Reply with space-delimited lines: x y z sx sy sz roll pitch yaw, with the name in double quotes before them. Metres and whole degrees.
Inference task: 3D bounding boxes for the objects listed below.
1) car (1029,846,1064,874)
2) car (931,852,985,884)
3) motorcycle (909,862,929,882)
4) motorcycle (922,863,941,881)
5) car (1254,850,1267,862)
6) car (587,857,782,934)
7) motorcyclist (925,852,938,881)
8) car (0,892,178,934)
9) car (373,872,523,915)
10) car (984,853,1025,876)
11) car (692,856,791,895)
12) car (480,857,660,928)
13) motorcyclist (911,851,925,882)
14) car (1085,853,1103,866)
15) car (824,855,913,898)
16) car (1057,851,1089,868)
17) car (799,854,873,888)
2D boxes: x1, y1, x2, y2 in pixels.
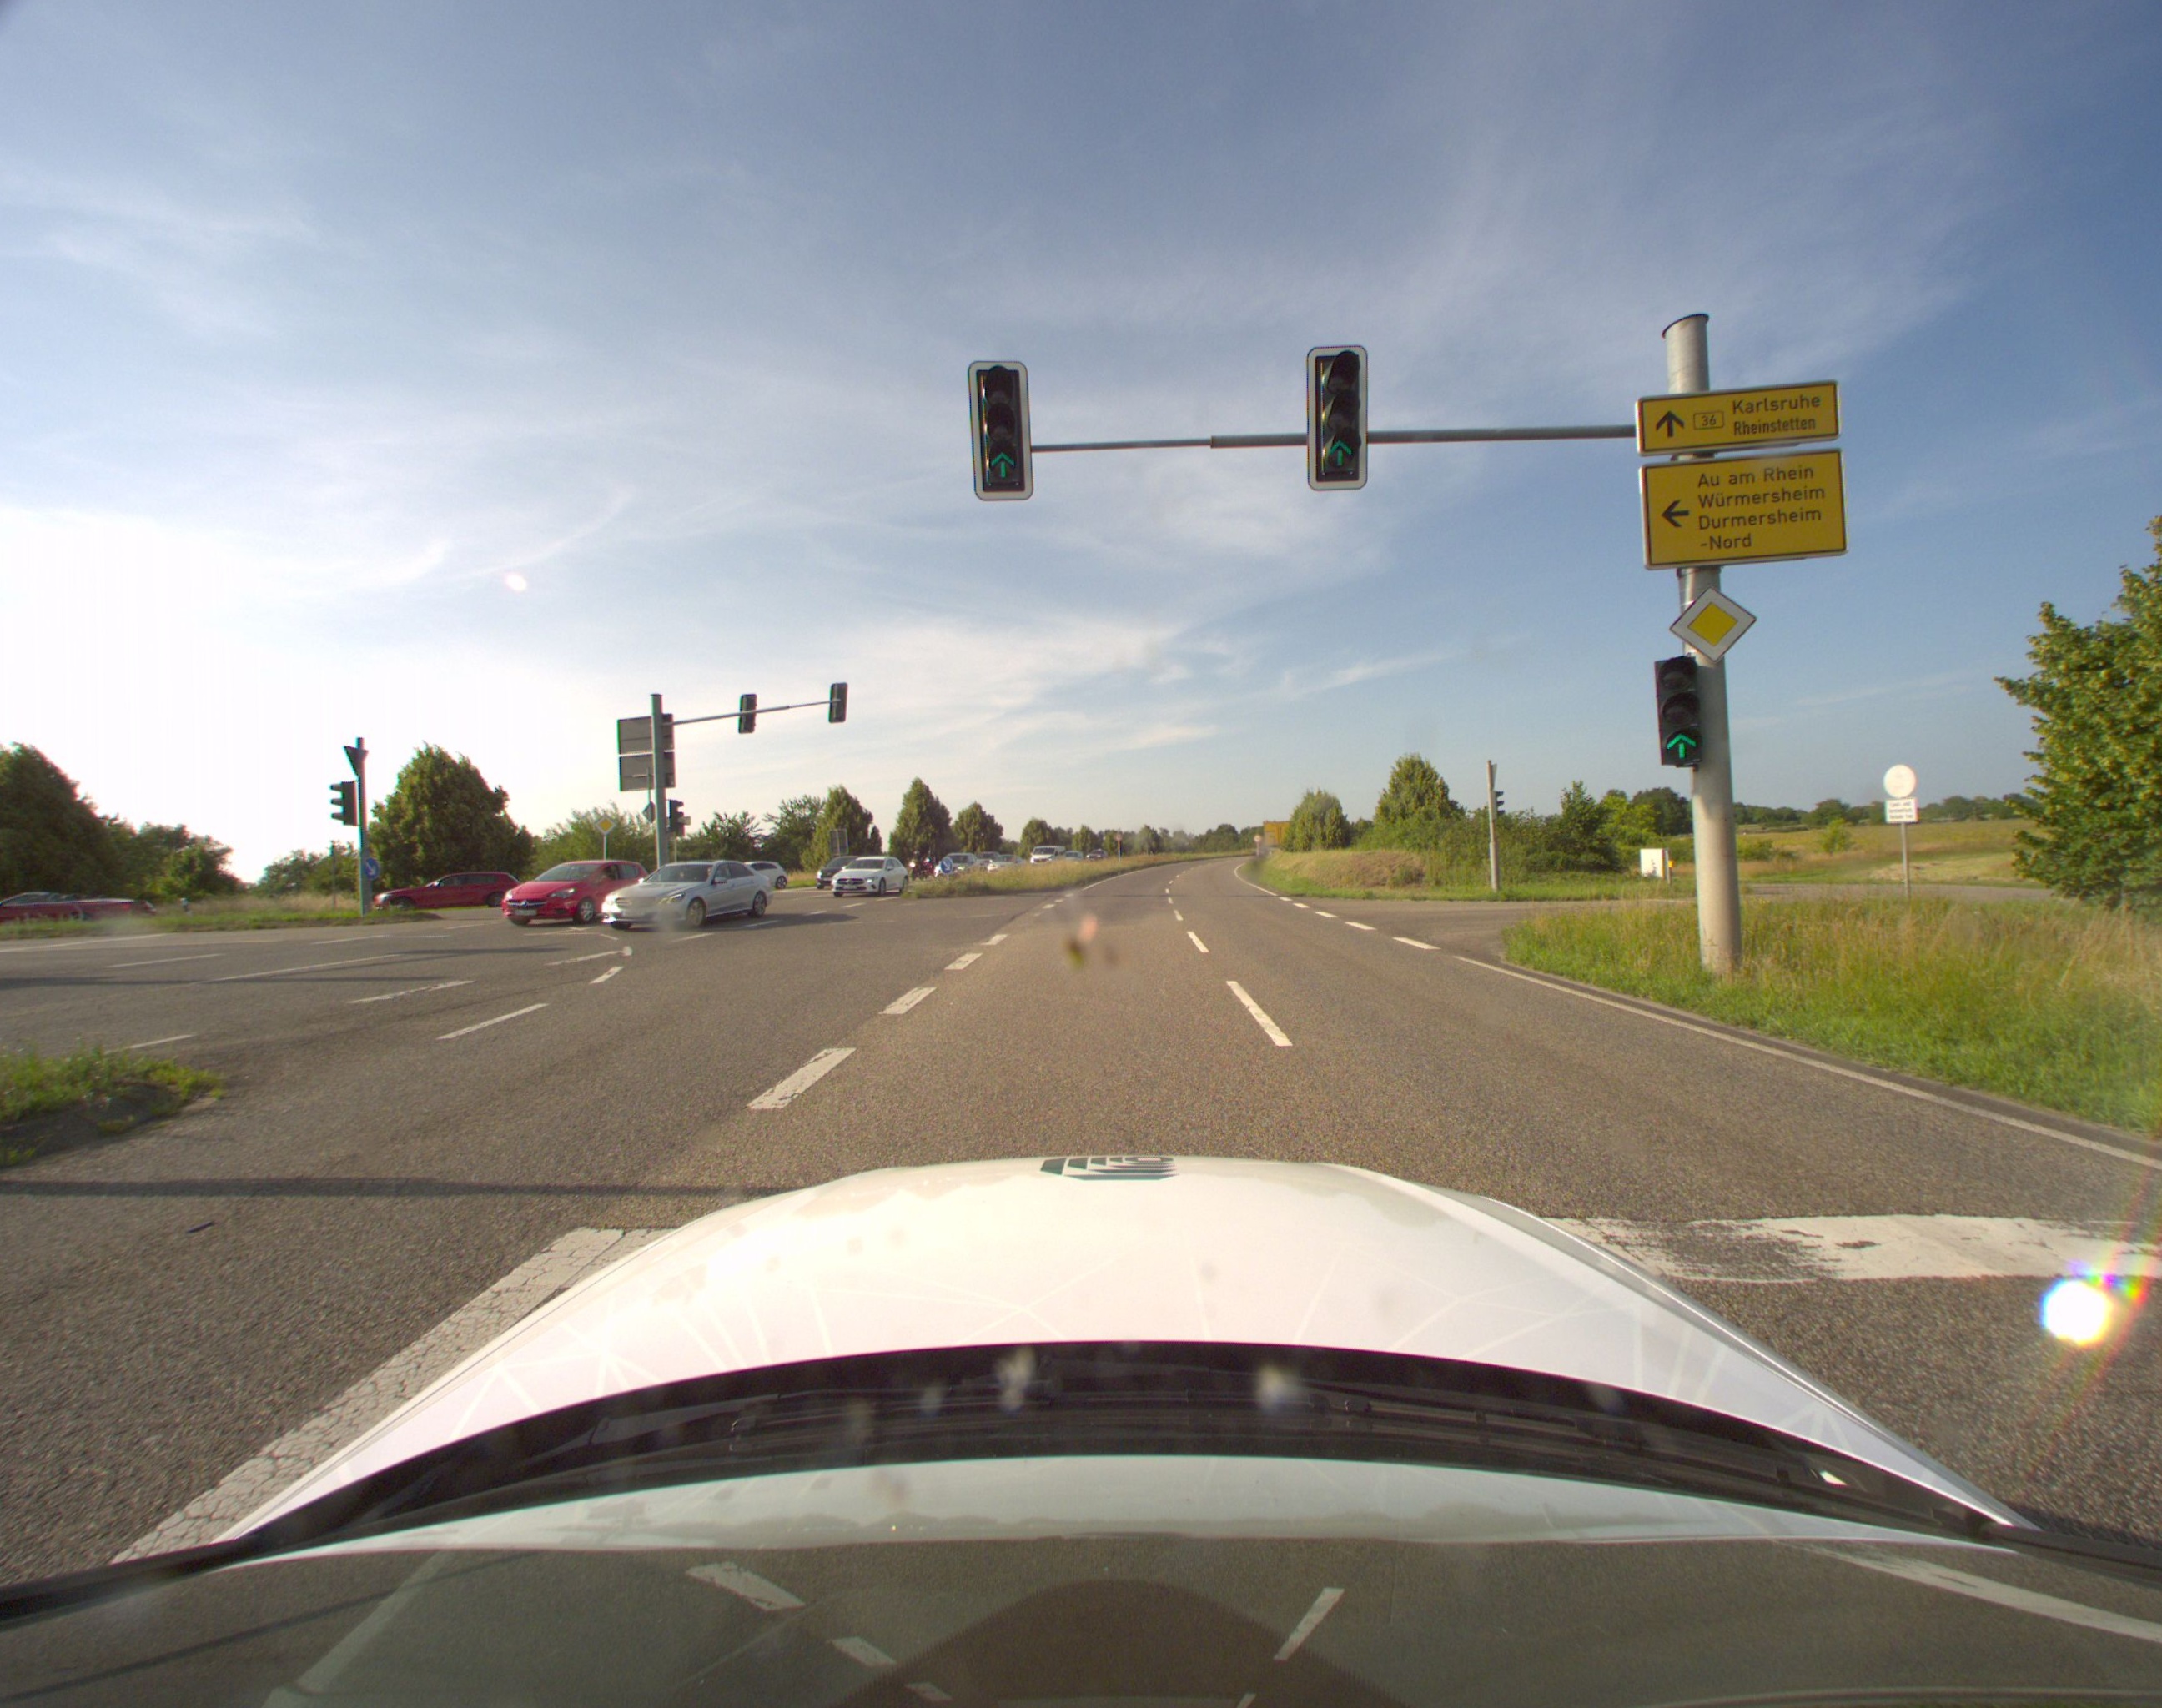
"car" -2.687 0.432 64.574 1.913 2.078 4.255 -2 0 10
"car" -6.400 0.710 42.806 1.777 1.568 4.058 -2 0 6
"motorcycle" -9.273 1.041 46.661 0.870 1.097 1.468 -2 0 0
"motorcycle" -9.346 1.119 50.916 0.870 1.097 1.298 -2 0 0
"car" 26.058 0.332 118.380 1.773 1.605 4.207 -1 -1 10
"car" -8.866 0.840 18.775 1.777 1.488 4.659 -2 0 6
"motorcyclist" -9.369 0.786 51.095 0.660 1.817 0.605 -2 0 -1
"car" -32.843 1.899 26.315 4.475 1.101 1.988 -2 0 -18
"car" -23.123 1.396 29.895 4.234 1.326 1.645 -1 0 -40
"car" -4.883 0.649 52.558 1.777 1.385 4.058 -2 0 6
"car" -16.327 0.997 39.316 1.824 1.726 4.026 -2 0 32
"car" -12.198 0.860 19.759 1.713 1.488 3.808 -2 0 4
"motorcyclist" -9.340 0.711 46.687 0.660 1.747 0.605 -2 0 -1
"car" 1.518 0.661 97.208 1.395 1.402 3.435 -2 0 13
"car" -7.927 0.791 30.751 1.777 1.433 4.316 -2 0 6
"car" -0.660 0.497 73.303 1.772 1.385 4.068 -2 0 16
"car" -11.283 0.755 37.765 1.777 1.433 4.058 -2 0 6
